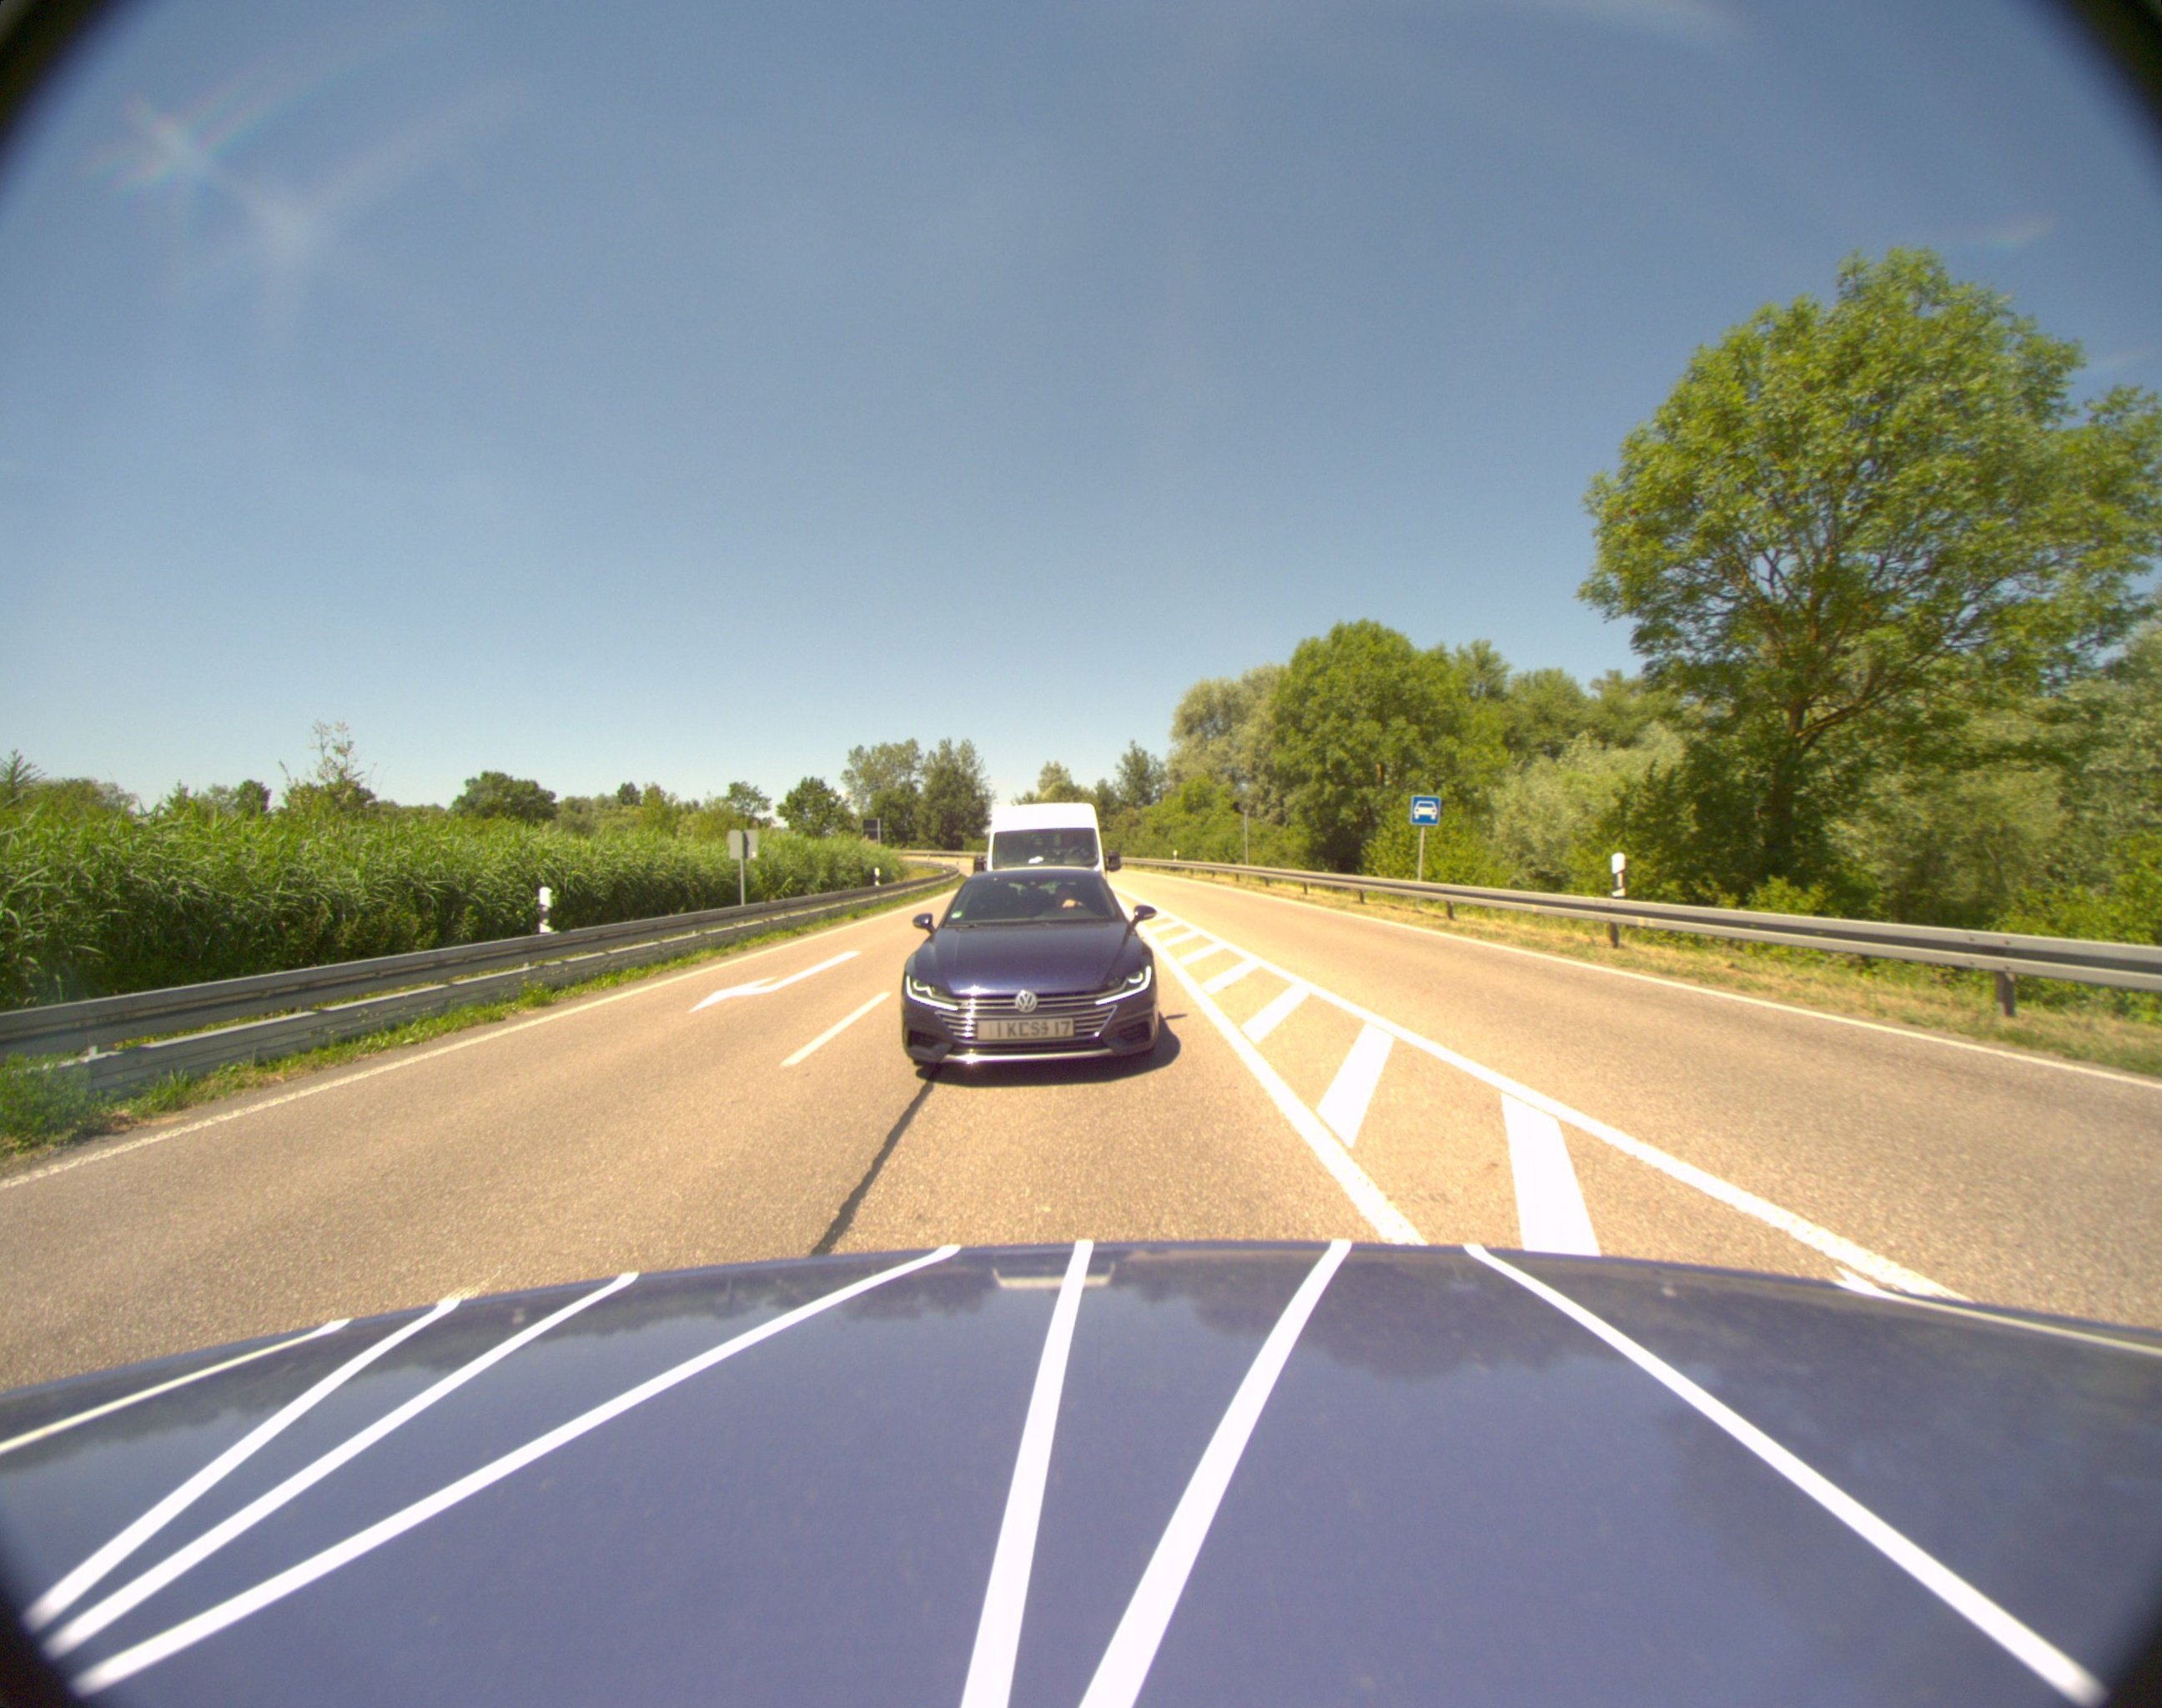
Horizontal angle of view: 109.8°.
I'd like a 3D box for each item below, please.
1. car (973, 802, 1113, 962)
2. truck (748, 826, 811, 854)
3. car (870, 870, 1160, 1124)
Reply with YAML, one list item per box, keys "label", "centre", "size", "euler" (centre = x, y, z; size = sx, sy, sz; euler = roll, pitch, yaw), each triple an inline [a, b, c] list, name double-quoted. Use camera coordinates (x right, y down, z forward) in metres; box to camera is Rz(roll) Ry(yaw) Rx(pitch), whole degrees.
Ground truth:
- label: "car"
  centre: [-0.568, 0.404, 14.541]
  size: [2.059, 2.376, 5.826]
  euler: [-2, 1, 0]
- label: "truck"
  centre: [-36.677, -1.676, 92.262]
  size: [9.055, 3.052, 2.583]
  euler: [-2, 1, 36]
- label: "car"
  centre: [-0.403, 0.938, 6.746]
  size: [1.761, 1.401, 3.999]
  euler: [-2, 1, 0]
